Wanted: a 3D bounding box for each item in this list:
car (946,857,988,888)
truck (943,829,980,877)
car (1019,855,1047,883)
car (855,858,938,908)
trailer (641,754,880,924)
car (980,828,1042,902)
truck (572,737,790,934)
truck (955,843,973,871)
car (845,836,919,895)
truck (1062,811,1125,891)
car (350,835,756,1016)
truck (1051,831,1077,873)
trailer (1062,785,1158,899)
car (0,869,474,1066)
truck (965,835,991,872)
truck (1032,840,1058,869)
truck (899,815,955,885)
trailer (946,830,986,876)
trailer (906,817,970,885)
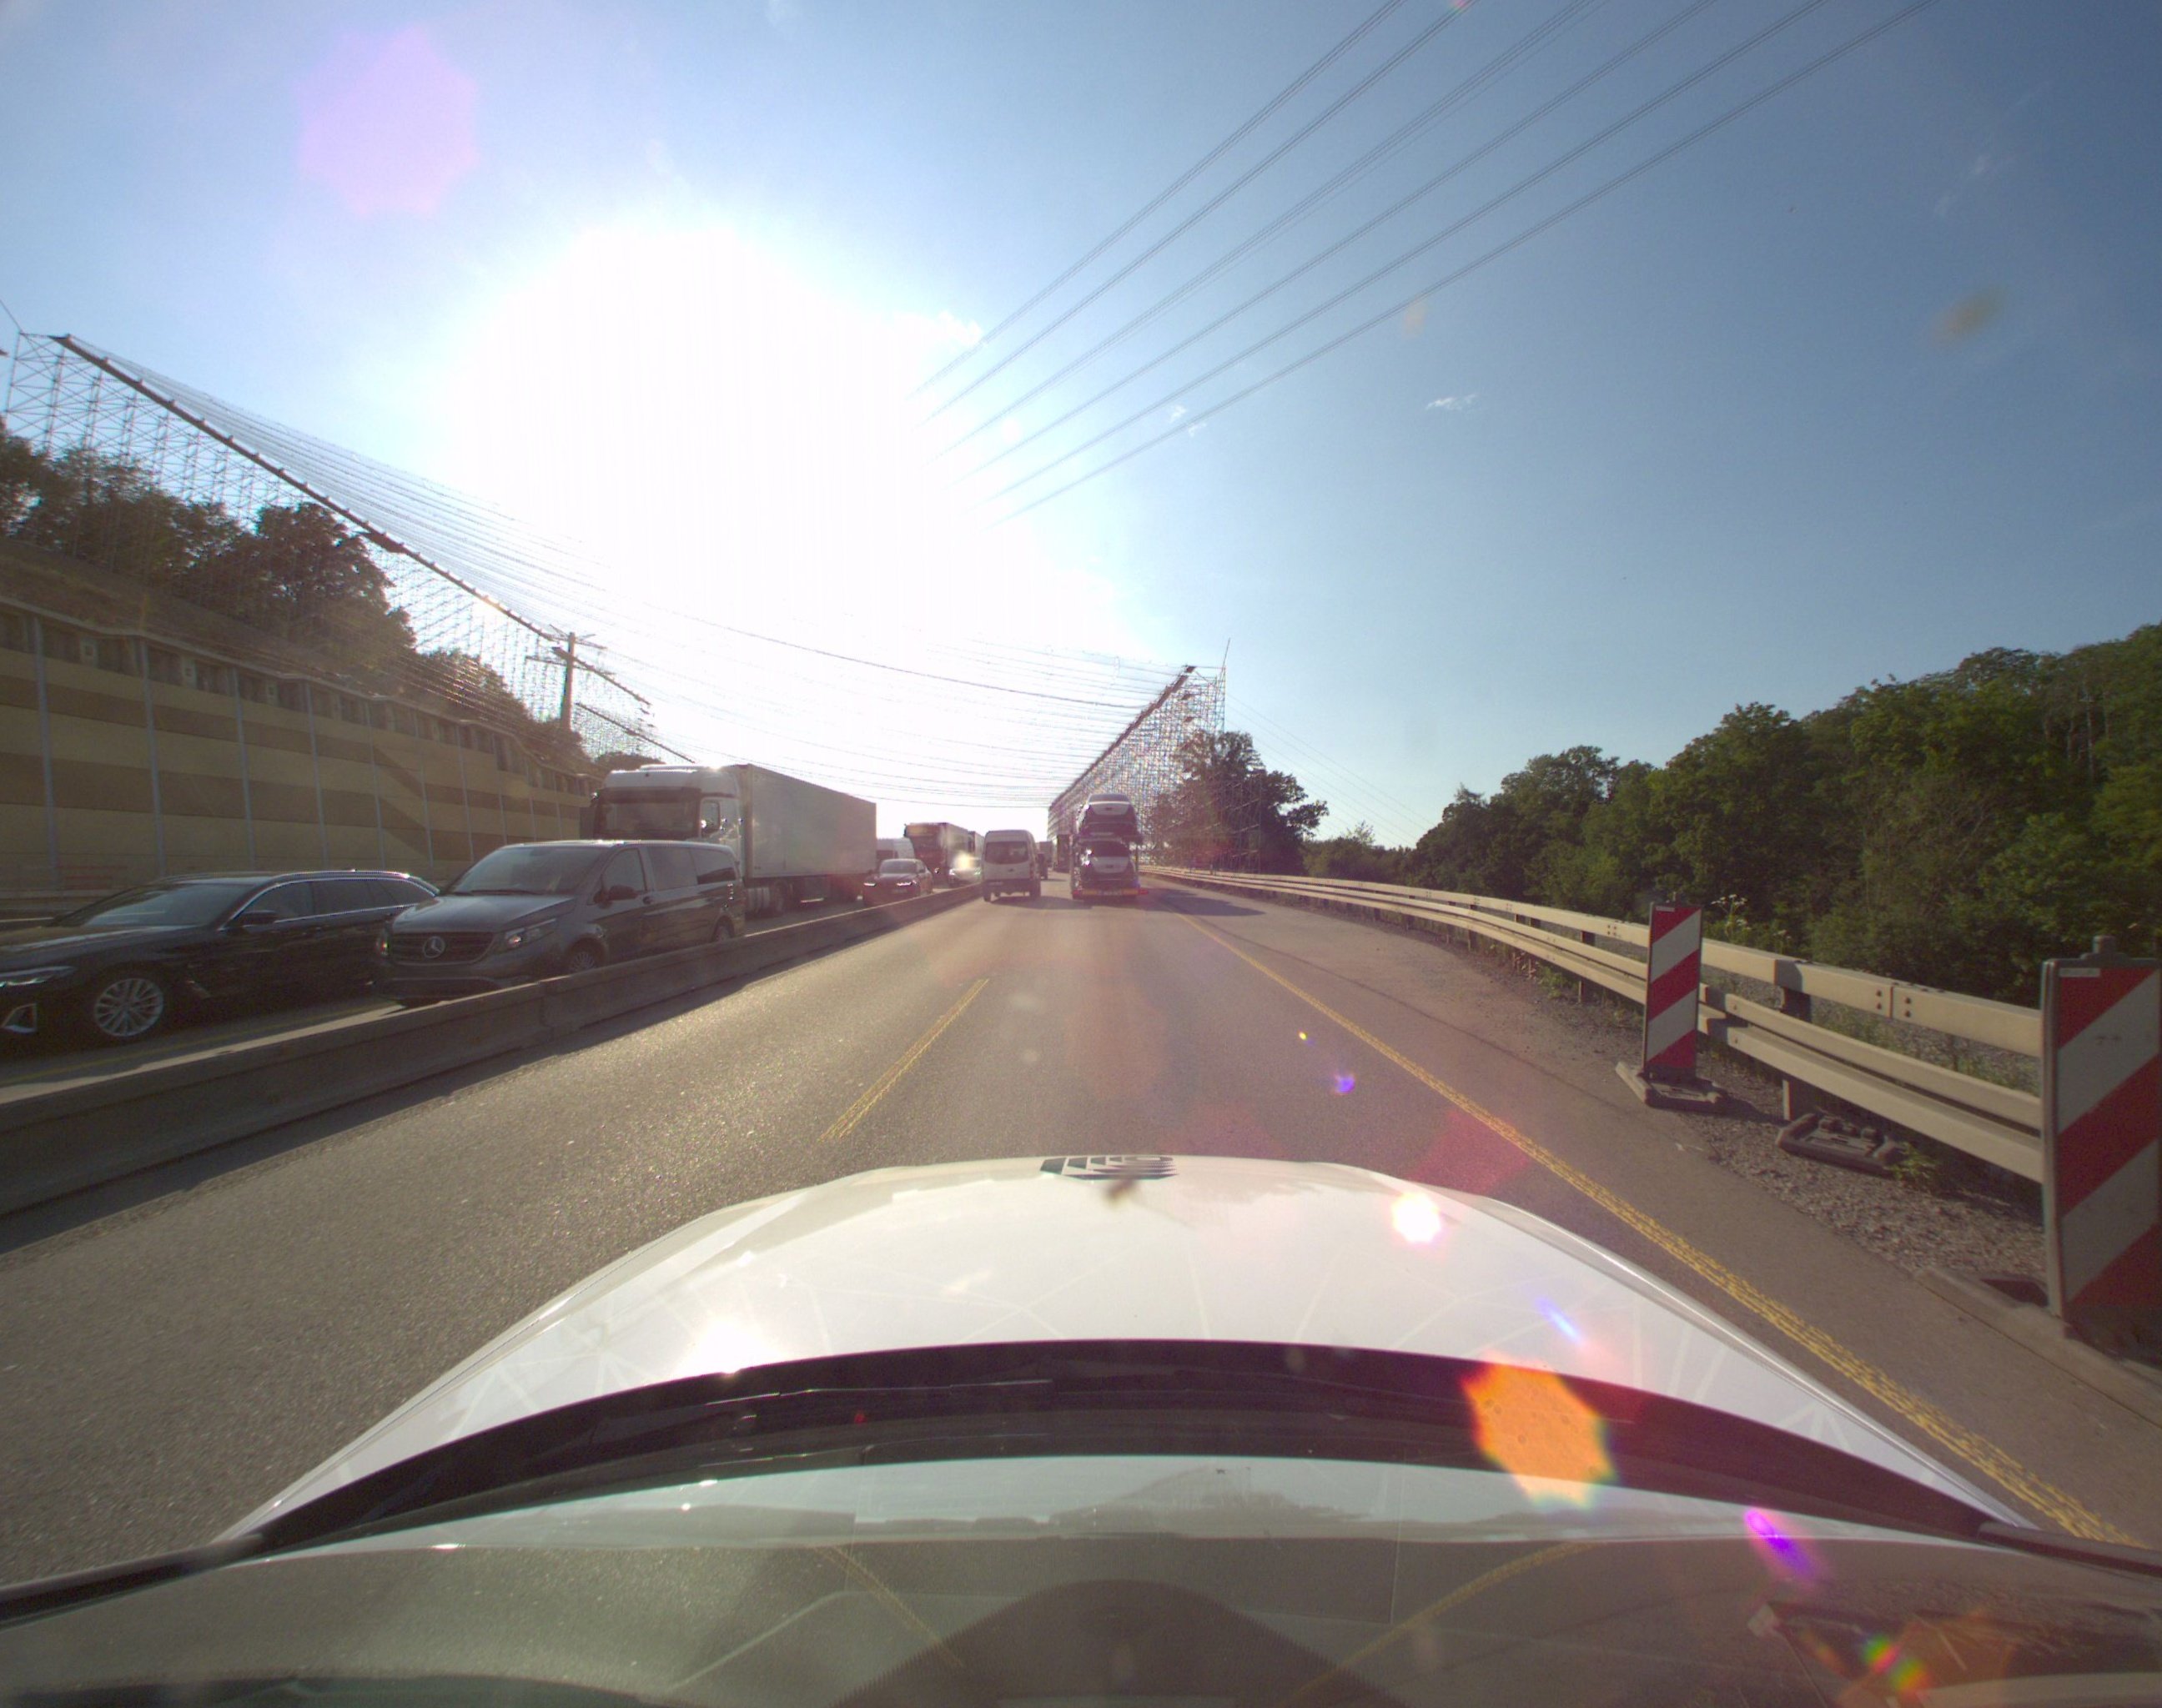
[{"bbox_3d":[-6.547,1.048,47.168,1.864,1.588,4.801,1,1,-2],"label":"car"},{"bbox_3d":[-10.821,-0.078,73.965,2.782,4.141,5.925,-1,-1,-4],"label":"truck"},{"bbox_3d":[-3.602,1.122,61.252,1.989,2.014,3.994,0,-1,-4],"label":"car"},{"bbox_3d":[-6.406,0.964,28.797,1.881,1.568,4.455,0,0,1],"label":"car"},{"bbox_3d":[-9.743,-0.319,27.302,2.713,4.218,13.742,-1,-1,-1],"label":"trailer"},{"bbox_3d":[-2.608,0.339,31.303,1.950,2.620,4.001,-1,1,1],"label":"car"},{"bbox_3d":[-9.641,-0.385,20.417,2.705,4.218,5.679,-1,-1,-1],"label":"truck"},{"bbox_3d":[-18.330,0.453,127.541,2.662,4.230,6.085,-1,0,-9],"label":"truck"},{"bbox_3d":[-9.842,0.482,40.909,2.016,2.690,6.947,0,1,-1],"label":"car"},{"bbox_3d":[0.515,-0.098,41.870,2.874,3.702,7.319,-1,-1,-2],"label":"truck"},{"bbox_3d":[-6.308,0.667,10.789,1.799,1.772,5.452,-1,1,0],"label":"car"},{"bbox_3d":[-1.865,-0.181,90.583,2.724,4.385,11.515,0,0,-1],"label":"truck"},{"bbox_3d":[0.797,-0.319,34.232,2.862,3.725,14.932,-1,-1,-2],"label":"trailer"},{"bbox_3d":[-9.075,0.927,8.571,1.737,1.460,4.714,-1,-1,1],"label":"car"},{"bbox_3d":[-11.770,-0.017,93.316,2.784,4.141,6.663,-1,-1,-7],"label":"truck"},{"bbox_3d":[-5.722,0.021,132.136,3.677,4.220,13.659,-3,0,-2],"label":"truck"},{"bbox_3d":[-9.954,-0.208,53.089,2.738,4.300,5.927,-1,-1,-3],"label":"truck"},{"bbox_3d":[-11.227,-0.010,80.659,2.793,4.141,13.947,-1,-1,-3],"label":"trailer"},{"bbox_3d":[-10.250,-0.123,59.817,2.759,4.334,13.866,-1,-1,-3],"label":"trailer"}]
